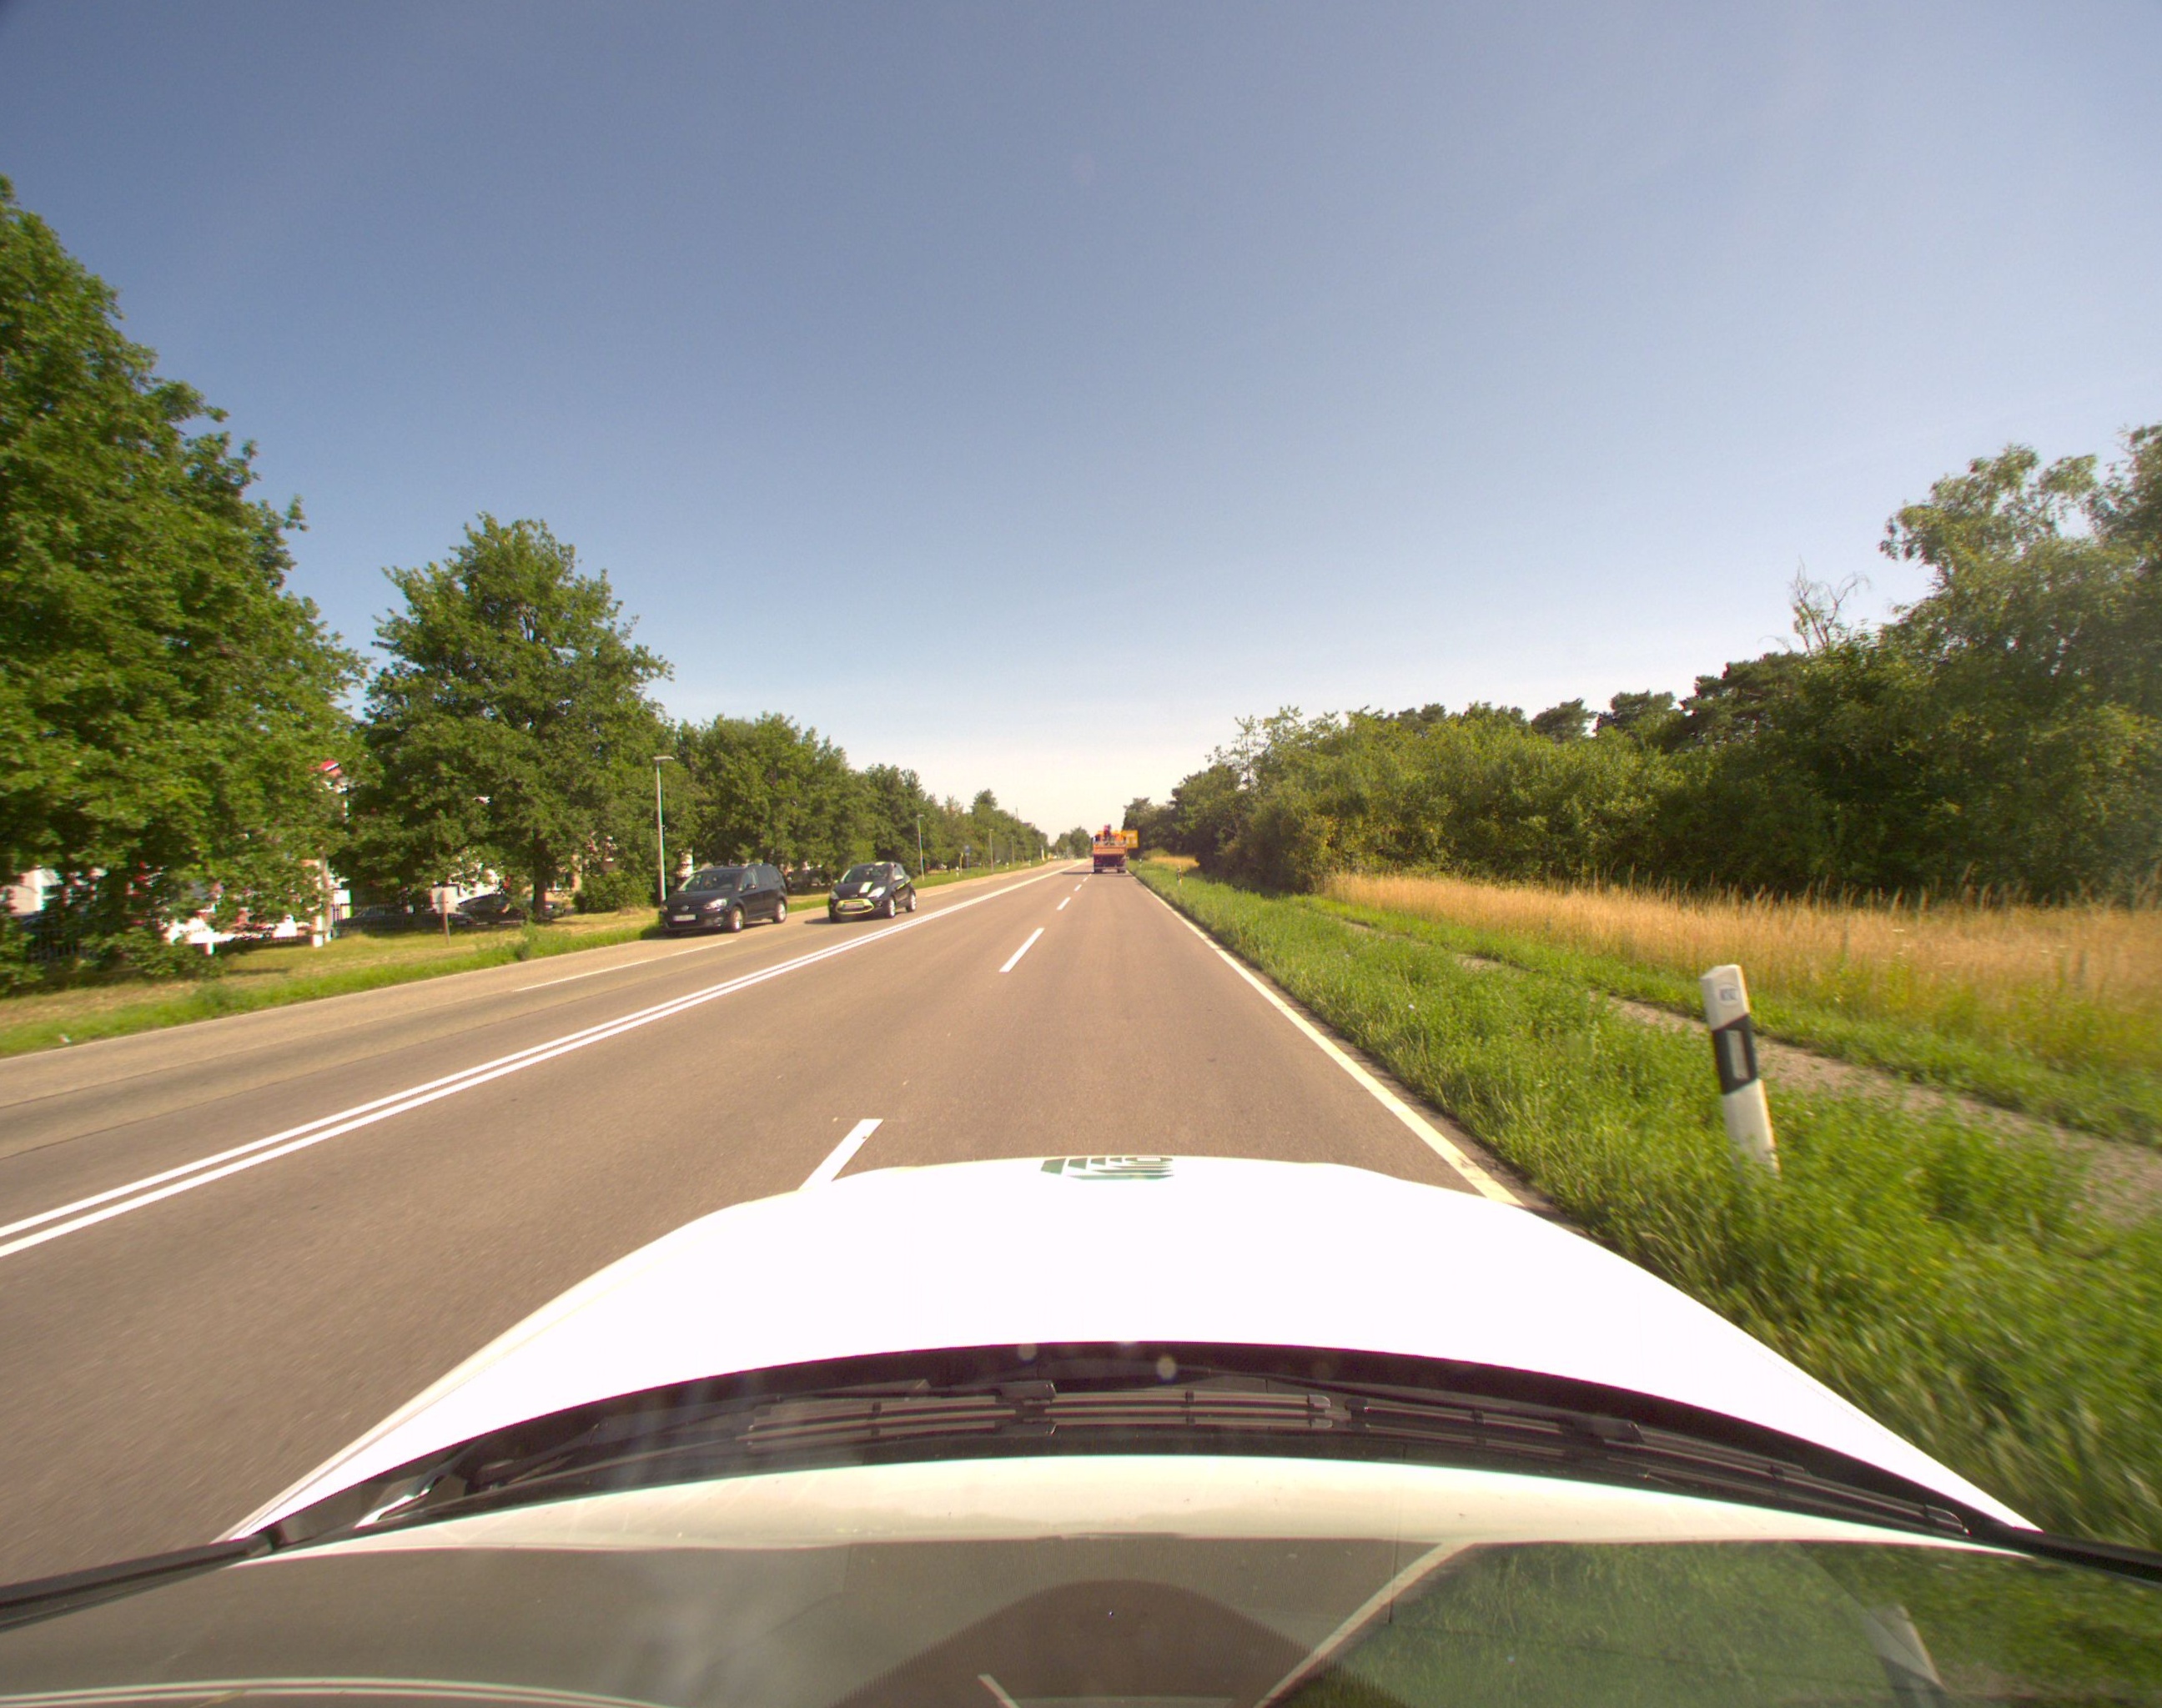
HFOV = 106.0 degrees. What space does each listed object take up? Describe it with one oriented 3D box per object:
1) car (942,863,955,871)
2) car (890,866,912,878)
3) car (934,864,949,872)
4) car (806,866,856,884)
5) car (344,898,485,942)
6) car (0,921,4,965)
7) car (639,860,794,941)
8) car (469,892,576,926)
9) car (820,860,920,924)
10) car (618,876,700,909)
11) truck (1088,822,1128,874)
[{"bbox_3d":[-29.267,2.845,180.391,1.986,1.437,4.611,-3,0,1],"label":"car"},{"bbox_3d":[-24.710,2.453,112.014,1.736,1.578,4.550,-3,0,2],"label":"car"},{"bbox_3d":[-29.186,2.857,170.421,1.985,1.437,4.959,-3,0,3],"label":"car"},{"bbox_3d":[-27.490,2.286,89.783,2.047,1.806,5.048,-3,-1,32],"label":"car"},{"bbox_3d":[-28.153,2.772,34.498,4.335,1.325,1.857,-6,-1,1],"label":"car"},{"bbox_3d":[-34.378,2.798,22.964,1.782,1.349,4.661,-4,0,-1],"label":"car"},{"bbox_3d":[-9.109,1.081,20.828,1.819,1.671,4.390,-4,0,1],"label":"car"},{"bbox_3d":[-27.769,2.714,40.556,3.971,1.306,1.864,-4,0,2],"label":"car"},{"bbox_3d":[-5.584,0.945,22.001,1.511,1.450,3.776,-4,0,2],"label":"car"},{"bbox_3d":[-27.606,2.521,53.402,4.208,1.730,2.000,-5,0,1],"label":"car"},{"bbox_3d":[2.061,-0.437,64.705,2.863,3.880,7.397,0,0,0],"label":"truck"}]
